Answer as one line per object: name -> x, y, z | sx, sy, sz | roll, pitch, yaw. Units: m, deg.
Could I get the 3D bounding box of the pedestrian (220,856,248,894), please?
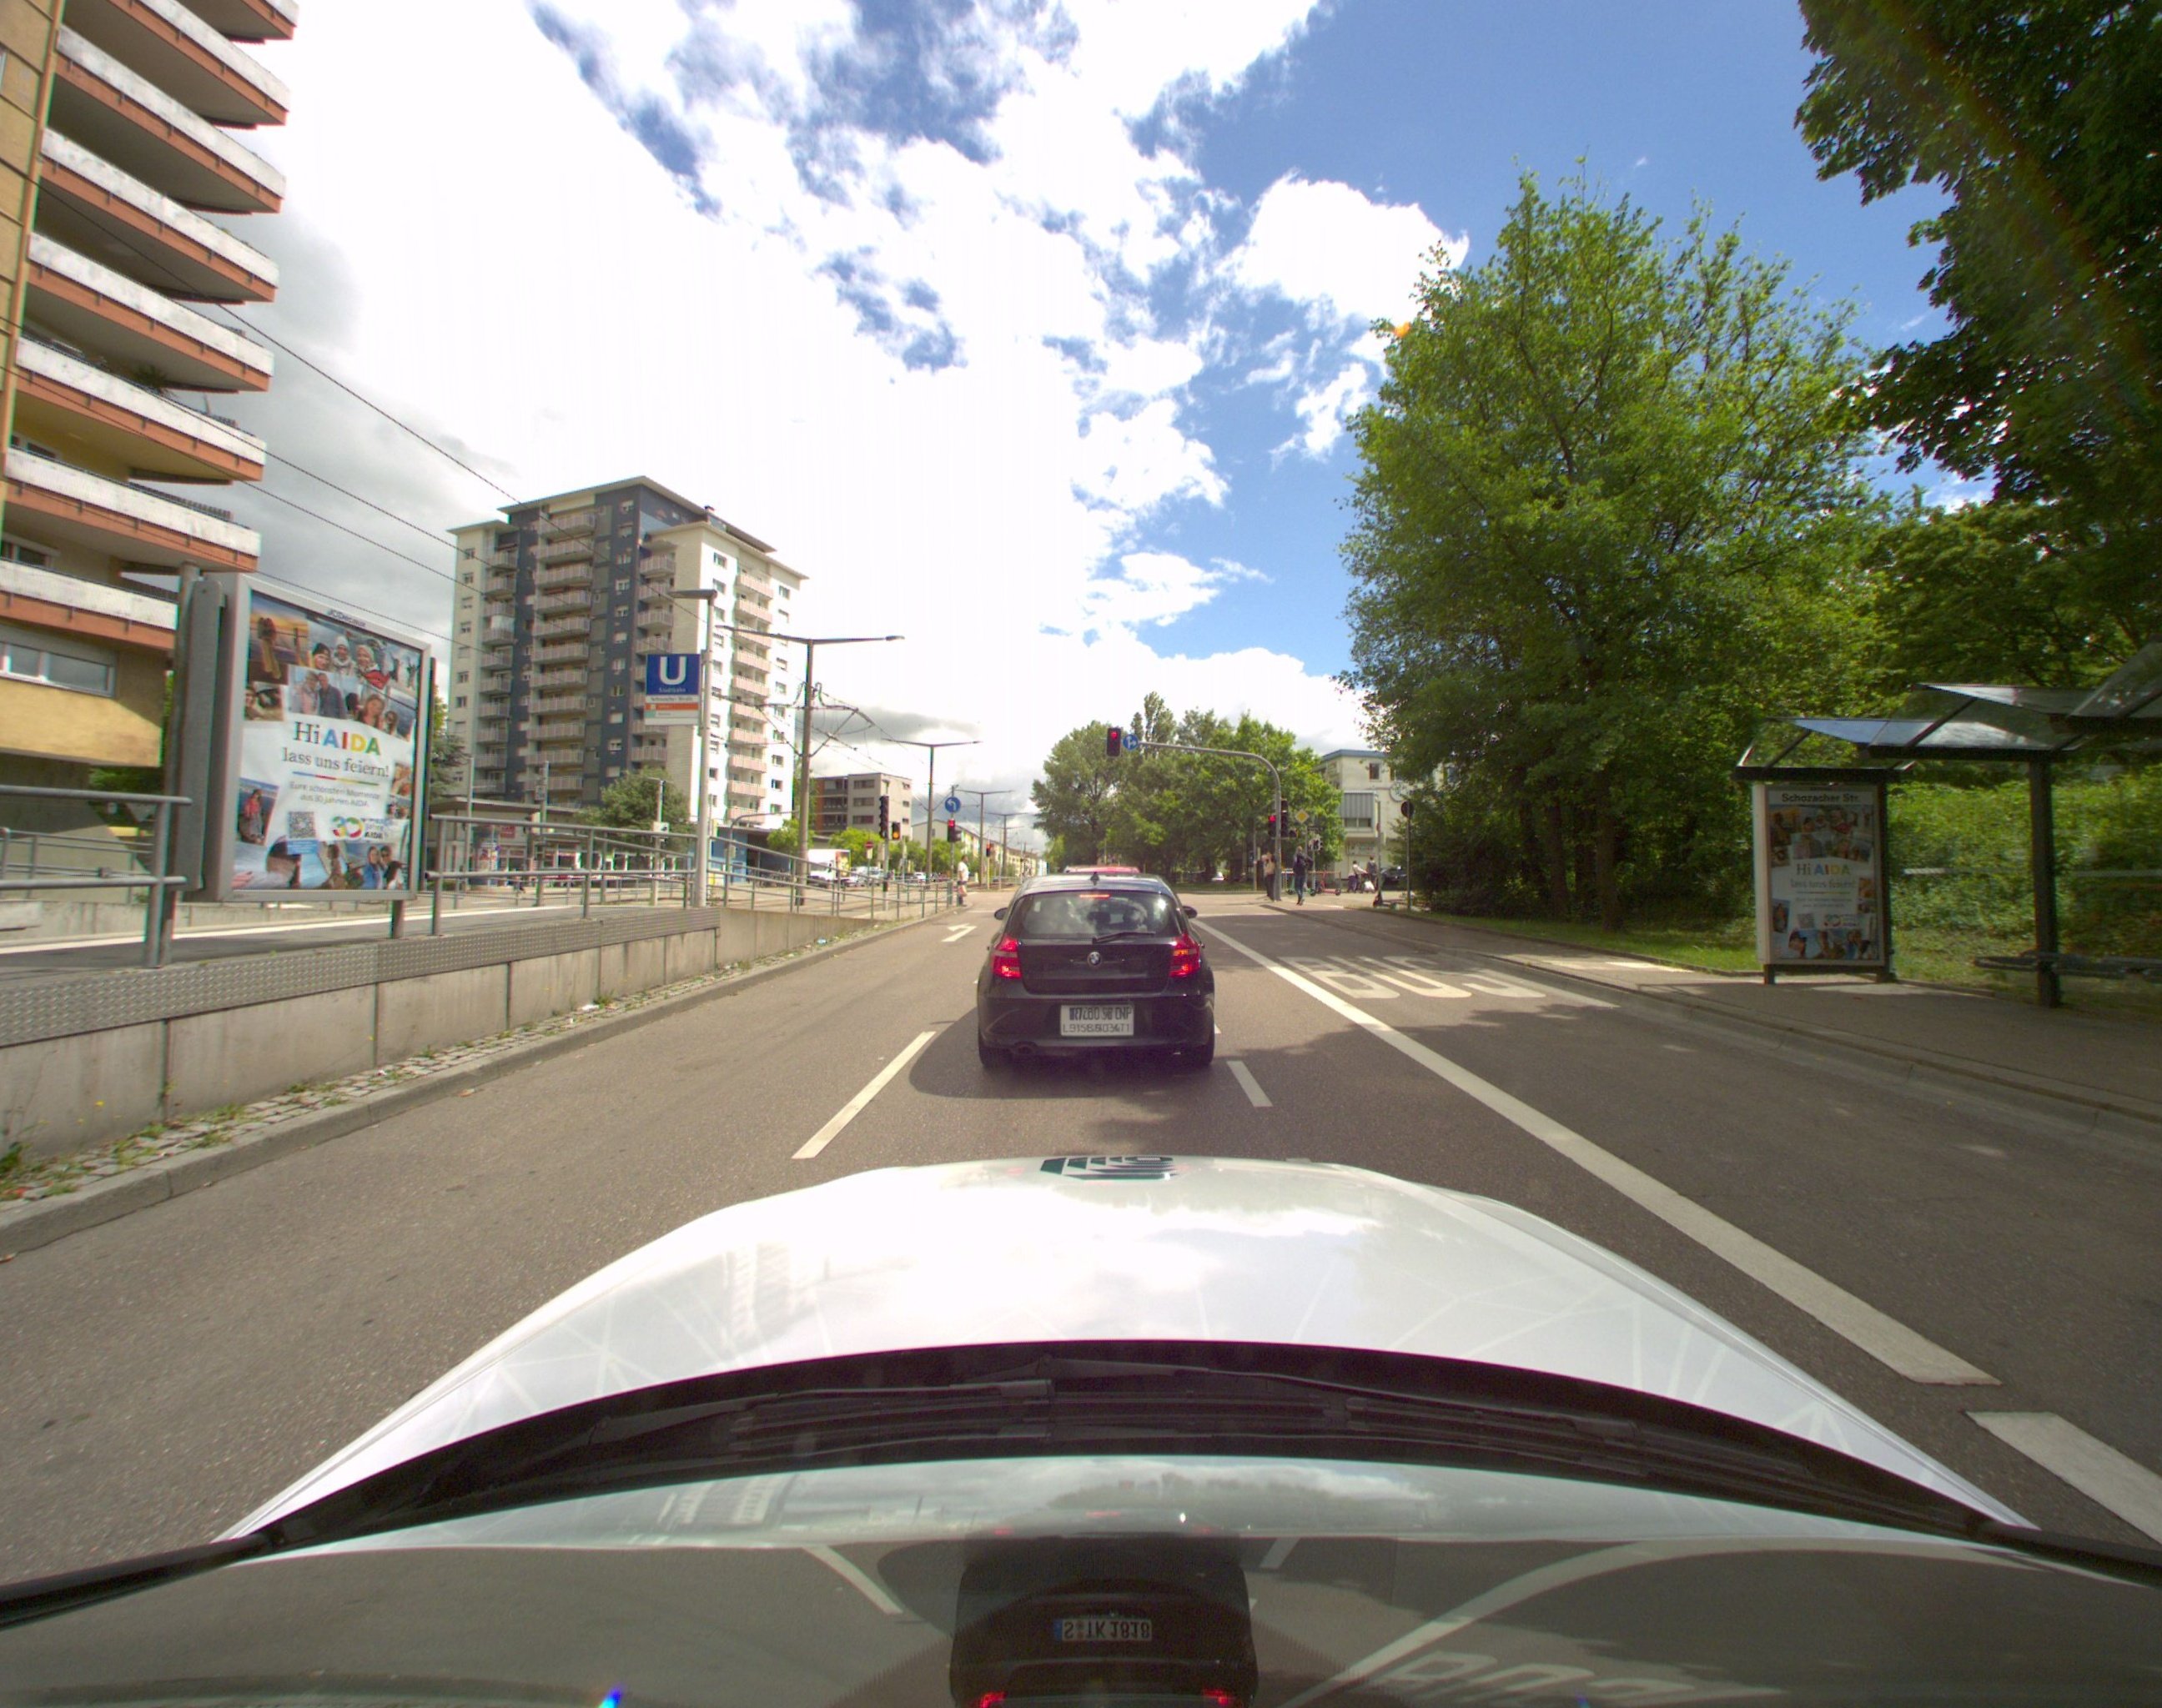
pedestrian -> -33.122, 0.830, 31.842 | 0.495, 1.440, 0.551 | -3, -2, 7

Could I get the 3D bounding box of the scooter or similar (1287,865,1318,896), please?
scooter or similar -> 8.946, 1.074, 32.939 | 1.105, 1.235, 0.540 | 0, -1, 4

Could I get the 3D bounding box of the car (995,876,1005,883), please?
car -> -16.387, 5.222, 165.164 | 1.791, 1.410, 3.993 | 0, -1, -4

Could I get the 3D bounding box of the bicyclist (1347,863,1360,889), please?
bicyclist -> 12.258, 1.001, 36.663 | 0.394, 1.157, 0.506 | -1, -1, 39

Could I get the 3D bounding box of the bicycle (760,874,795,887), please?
bicycle -> -24.273, 2.142, 65.086 | 2.570, 1.009, 0.749 | 2, -3, -27

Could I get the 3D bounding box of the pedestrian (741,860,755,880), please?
pedestrian -> -32.728, 1.559, 80.012 | 0.852, 2.014, 0.851 | -1, -1, 19

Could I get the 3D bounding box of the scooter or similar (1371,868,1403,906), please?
scooter or similar -> 10.691, 1.154, 28.436 | 0.886, 1.230, 0.455 | 4, -1, 1

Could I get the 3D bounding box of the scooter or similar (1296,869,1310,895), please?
scooter or similar -> 9.486, 1.176, 34.811 | 0.543, 1.064, 1.267 | 0, -1, 16

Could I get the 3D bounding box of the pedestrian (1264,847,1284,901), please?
pedestrian -> 6.798, 0.712, 28.663 | 0.632, 1.876, 0.519 | 0, -1, 8

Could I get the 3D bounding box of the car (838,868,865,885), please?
car -> -20.684, 2.046, 73.539 | 1.402, 1.461, 3.773 | 0, -1, 0

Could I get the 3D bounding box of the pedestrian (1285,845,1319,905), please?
pedestrian -> 7.170, 0.681, 26.478 | 0.792, 1.876, 1.014 | 3, -1, 4

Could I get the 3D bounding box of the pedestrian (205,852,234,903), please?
pedestrian -> -34.098, 0.934, 32.227 | 0.557, 2.014, 0.541 | 0, -1, 8

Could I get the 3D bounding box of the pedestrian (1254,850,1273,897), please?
pedestrian -> 6.835, 0.726, 30.482 | 0.632, 1.766, 0.519 | 0, -1, 8

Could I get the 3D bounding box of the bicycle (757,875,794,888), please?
bicycle -> -23.713, 2.126, 63.216 | 2.570, 1.009, 0.749 | 2, -3, -27

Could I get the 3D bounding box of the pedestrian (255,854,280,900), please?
pedestrian -> -36.014, 1.011, 36.054 | 0.603, 2.014, 0.557 | 0, -1, -21

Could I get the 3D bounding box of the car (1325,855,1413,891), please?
car -> 17.011, 1.113, 48.244 | 4.529, 2.014, 1.996 | -1, -1, -6

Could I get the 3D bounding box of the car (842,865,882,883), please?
car -> -24.220, 2.209, 90.245 | 3.945, 1.975, 1.637 | 0, -1, -41

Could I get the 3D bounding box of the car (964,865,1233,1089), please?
car -> 0.161, 0.798, 6.851 | 1.694, 1.400, 3.421 | 0, -1, 2

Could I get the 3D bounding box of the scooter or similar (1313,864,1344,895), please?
scooter or similar -> 10.273, 1.049, 33.819 | 1.145, 1.272, 0.556 | 1, -1, 4

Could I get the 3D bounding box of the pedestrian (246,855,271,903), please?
pedestrian -> -35.444, 1.073, 35.100 | 0.540, 2.014, 0.558 | -1, -1, -20

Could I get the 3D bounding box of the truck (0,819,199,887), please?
truck -> -34.569, -0.021, 28.764 | 4.262, 2.290, 2.352 | 0, -1, 2

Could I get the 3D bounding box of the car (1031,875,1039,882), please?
car -> -11.259, 6.033, 200.340 | 1.645, 1.534, 3.873 | -2, -1, 2

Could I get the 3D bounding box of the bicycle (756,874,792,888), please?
bicycle -> -24.149, 2.132, 63.982 | 2.570, 1.009, 0.749 | 2, -3, -27

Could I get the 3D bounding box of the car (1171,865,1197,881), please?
car -> 11.429, 2.083, 90.574 | 1.862, 1.662, 3.987 | 0, -1, -9

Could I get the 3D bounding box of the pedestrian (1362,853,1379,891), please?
pedestrian -> 13.325, 0.833, 37.519 | 0.651, 1.713, 0.464 | -1, -1, 28

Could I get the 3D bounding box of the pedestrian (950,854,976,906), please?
pedestrian -> -4.042, 0.891, 27.961 | 0.691, 1.734, 0.682 | 0, -1, -26

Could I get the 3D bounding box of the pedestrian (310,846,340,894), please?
pedestrian -> -28.325, 0.608, 30.512 | 0.650, 1.776, 0.667 | -1, -1, 30

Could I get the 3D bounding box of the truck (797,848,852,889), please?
truck -> -20.538, 1.187, 65.554 | 2.275, 3.118, 7.312 | 0, -1, -2

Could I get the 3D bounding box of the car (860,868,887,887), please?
car -> -20.463, 2.282, 80.331 | 1.586, 1.756, 3.775 | 0, -1, 1

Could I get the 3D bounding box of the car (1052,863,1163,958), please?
car -> 0.451, 0.855, 13.752 | 1.632, 1.400, 3.421 | 0, -1, 2

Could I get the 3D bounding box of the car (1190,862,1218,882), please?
car -> 11.987, 1.751, 79.615 | 1.724, 1.871, 3.990 | 0, -1, -7

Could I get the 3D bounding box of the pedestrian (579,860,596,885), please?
pedestrian -> -39.571, 1.489, 65.336 | 0.851, 2.014, 0.852 | -1, -1, 29

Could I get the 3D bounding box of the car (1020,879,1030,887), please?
car -> -12.250, 6.359, 179.060 | 1.644, 1.534, 3.875 | 0, -1, 4

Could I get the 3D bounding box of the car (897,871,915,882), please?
car -> -24.147, 3.049, 112.671 | 1.586, 1.474, 3.775 | 0, -1, 1

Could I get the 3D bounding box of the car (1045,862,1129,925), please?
car -> 0.205, 0.913, 20.670 | 1.893, 1.422, 4.540 | 0, -1, 2

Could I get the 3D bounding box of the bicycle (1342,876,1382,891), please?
bicycle -> 12.543, 1.305, 36.412 | 1.570, 0.610, 0.538 | -3, -1, 39
